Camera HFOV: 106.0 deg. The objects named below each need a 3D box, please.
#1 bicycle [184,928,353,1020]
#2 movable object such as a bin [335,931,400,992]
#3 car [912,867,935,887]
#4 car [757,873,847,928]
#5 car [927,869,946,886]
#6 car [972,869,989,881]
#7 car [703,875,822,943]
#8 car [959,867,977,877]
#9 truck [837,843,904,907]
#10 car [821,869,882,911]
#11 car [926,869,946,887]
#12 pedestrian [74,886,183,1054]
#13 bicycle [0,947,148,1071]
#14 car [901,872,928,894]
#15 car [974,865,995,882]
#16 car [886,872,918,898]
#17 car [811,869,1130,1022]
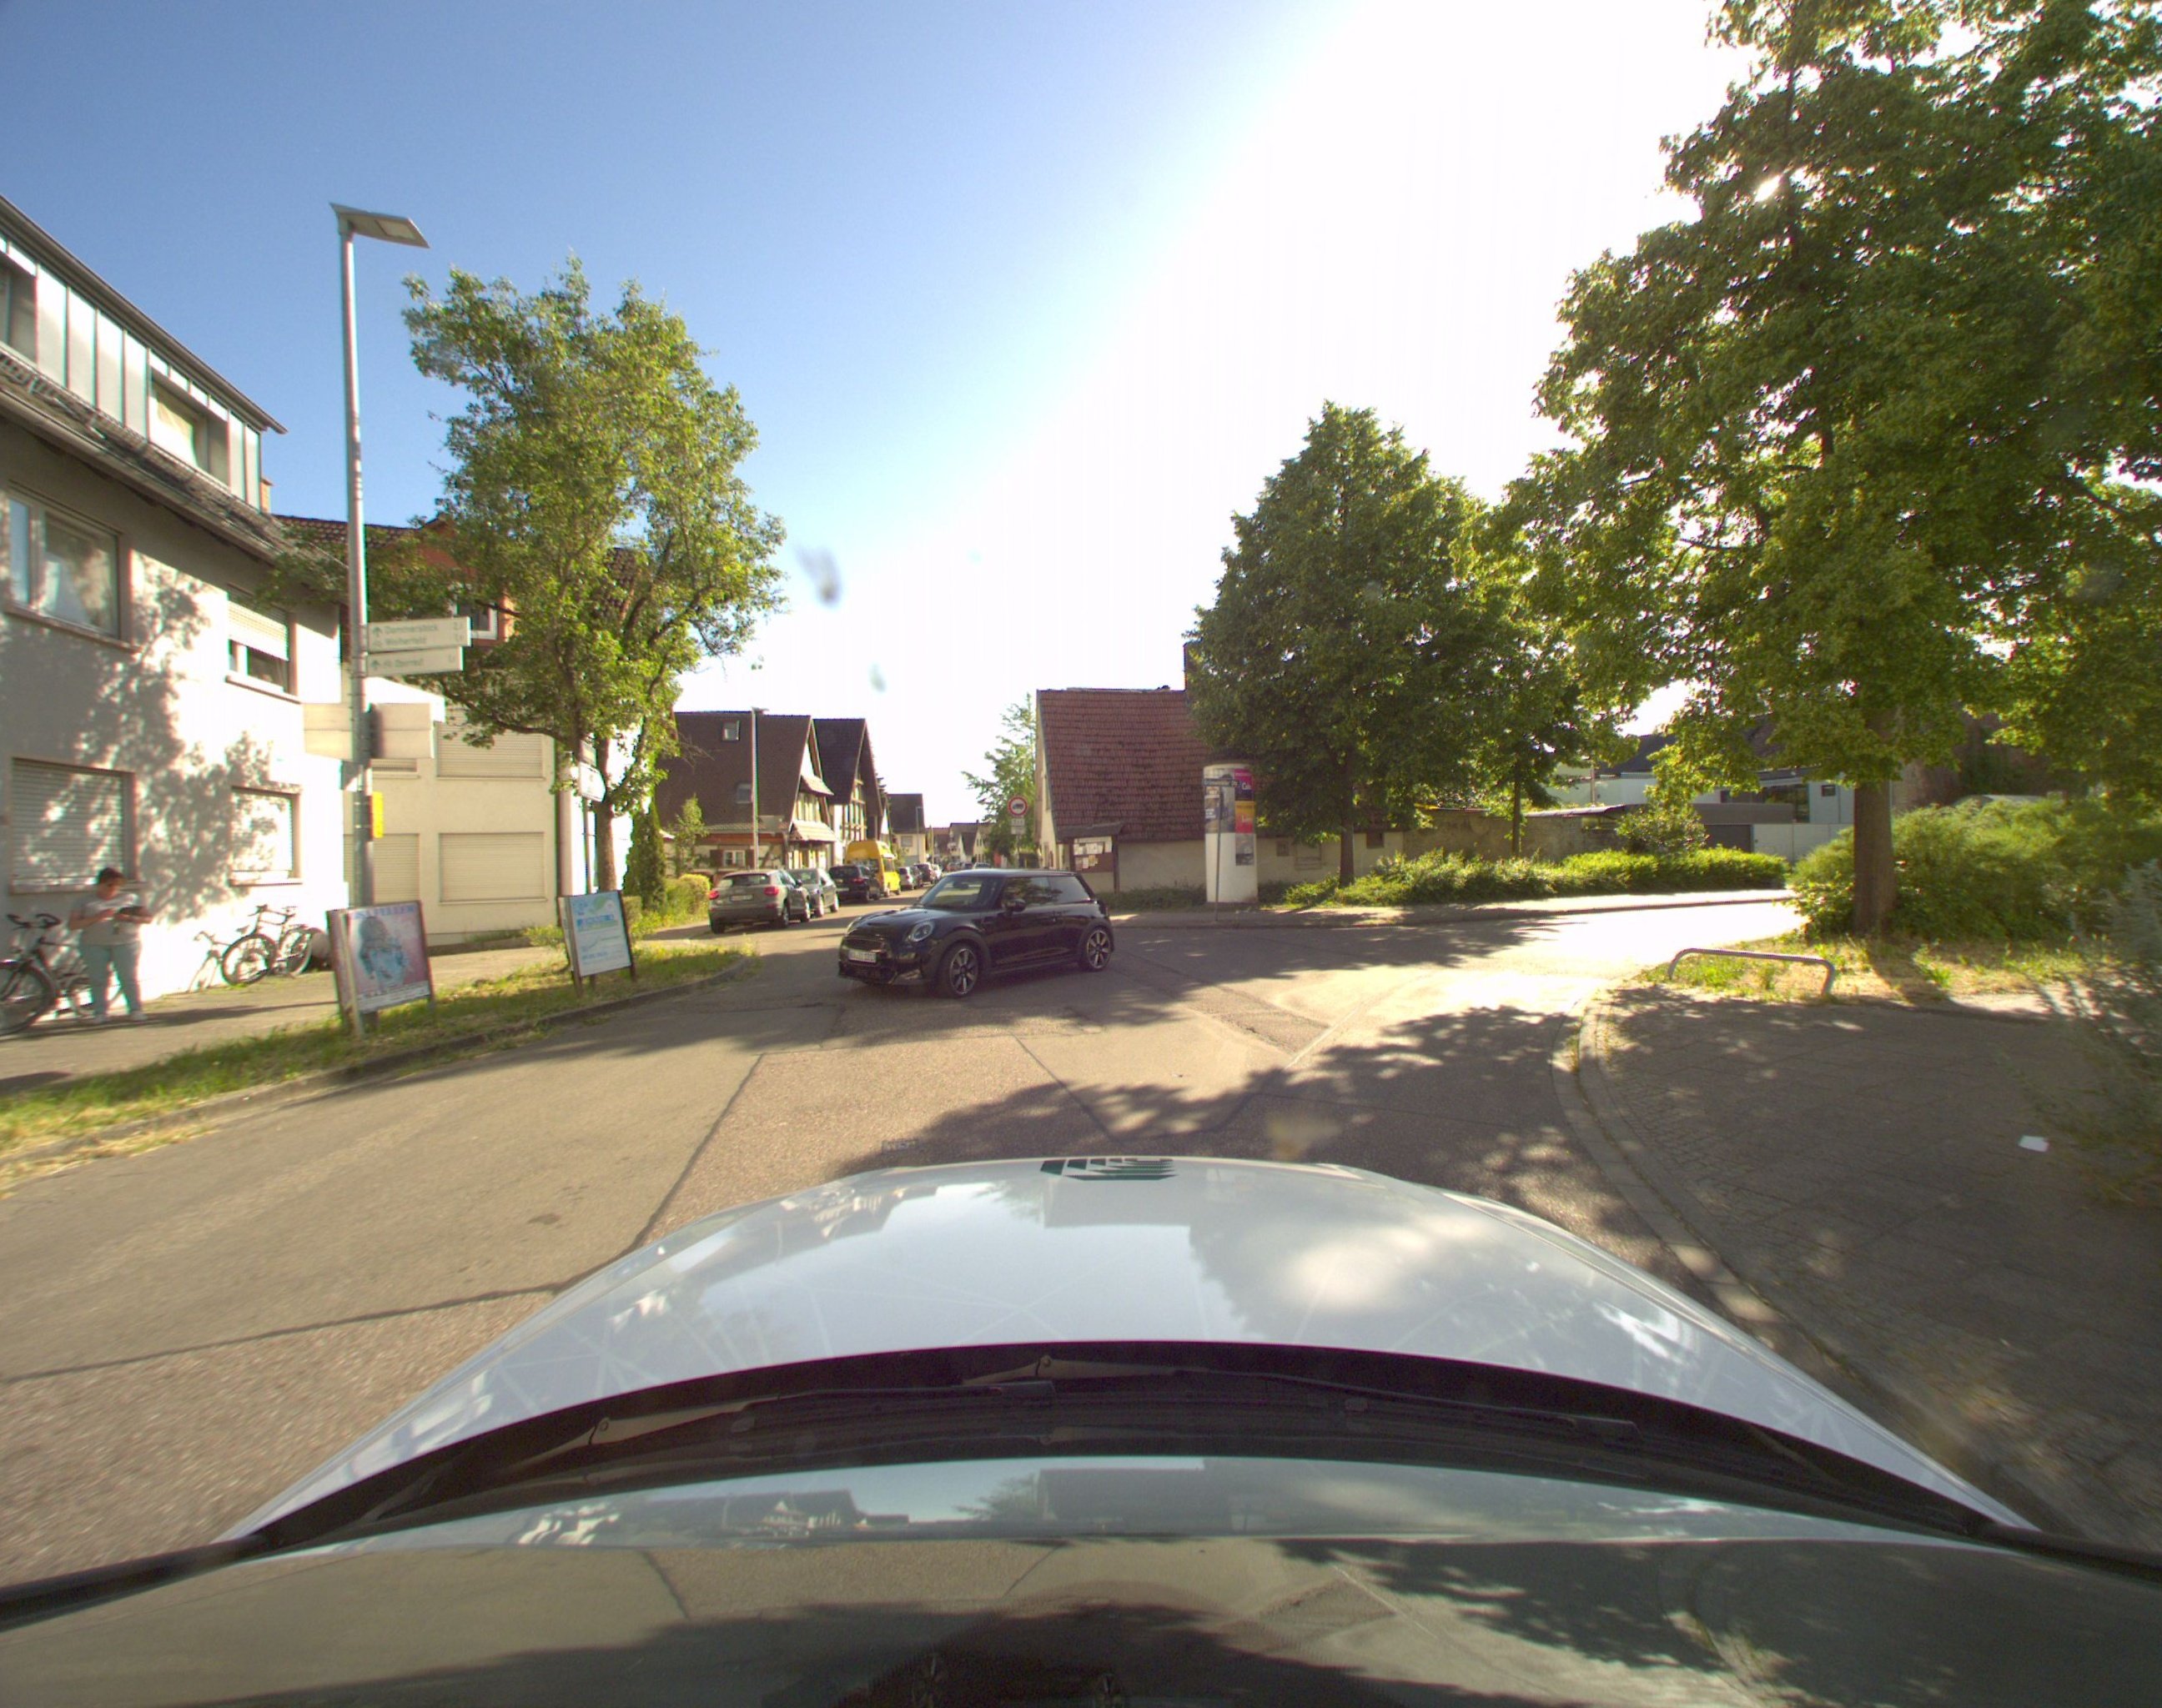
[{"bbox_3d":[-11.472,1.651,11.606,0.578,1.052,2.030,-2,-2,-8],"label":"bicycle"},{"bbox_3d":[-12.246,1.824,13.991,0.628,0.945,0.656,-2,-2,-20],"label":"movable object such as a bin"},{"bbox_3d":[-12.001,1.772,62.288,1.588,1.443,3.603,-2,-1,-9],"label":"car"},{"bbox_3d":[-8.691,1.404,25.726,1.804,1.506,4.098,-2,-1,-6],"label":"car"},{"bbox_3d":[-13.141,2.152,74.191,1.588,1.443,3.603,-2,-1,-9],"label":"car"},{"bbox_3d":[-14.502,2.973,117.081,1.976,1.583,3.976,-1,-1,-14],"label":"car"},{"bbox_3d":[-8.201,1.349,21.372,1.865,1.506,4.098,-2,-1,-6],"label":"car"},{"bbox_3d":[-17.983,2.859,129.105,1.980,1.583,3.966,-1,-1,-21],"label":"car"},{"bbox_3d":[-10.258,1.021,40.147,2.265,2.868,5.769,-2,-1,-6],"label":"truck"},{"bbox_3d":[-9.669,1.488,34.587,1.804,1.622,3.871,-2,-1,-6],"label":"car"},{"bbox_3d":[-12.408,2.041,69.615,1.588,1.443,3.603,-2,-1,-9],"label":"car"},{"bbox_3d":[-10.087,1.192,8.644,0.484,1.693,0.554,-1,-3,-12],"label":"pedestrian"},{"bbox_3d":[-10.449,1.550,8.366,0.424,1.052,1.374,-2,-2,-15],"label":"bicycle"},{"bbox_3d":[-10.967,1.907,53.776,1.588,1.336,3.603,-2,-1,-9],"label":"car"},{"bbox_3d":[-10.367,2.081,87.253,1.973,1.714,3.981,-2,-1,-9],"label":"car"},{"bbox_3d":[-10.760,1.832,49.135,1.645,1.433,3.603,-2,-1,-9],"label":"car"},{"bbox_3d":[-1.232,0.992,10.533,1.644,1.477,4.025,-1,0,39],"label":"car"}]
